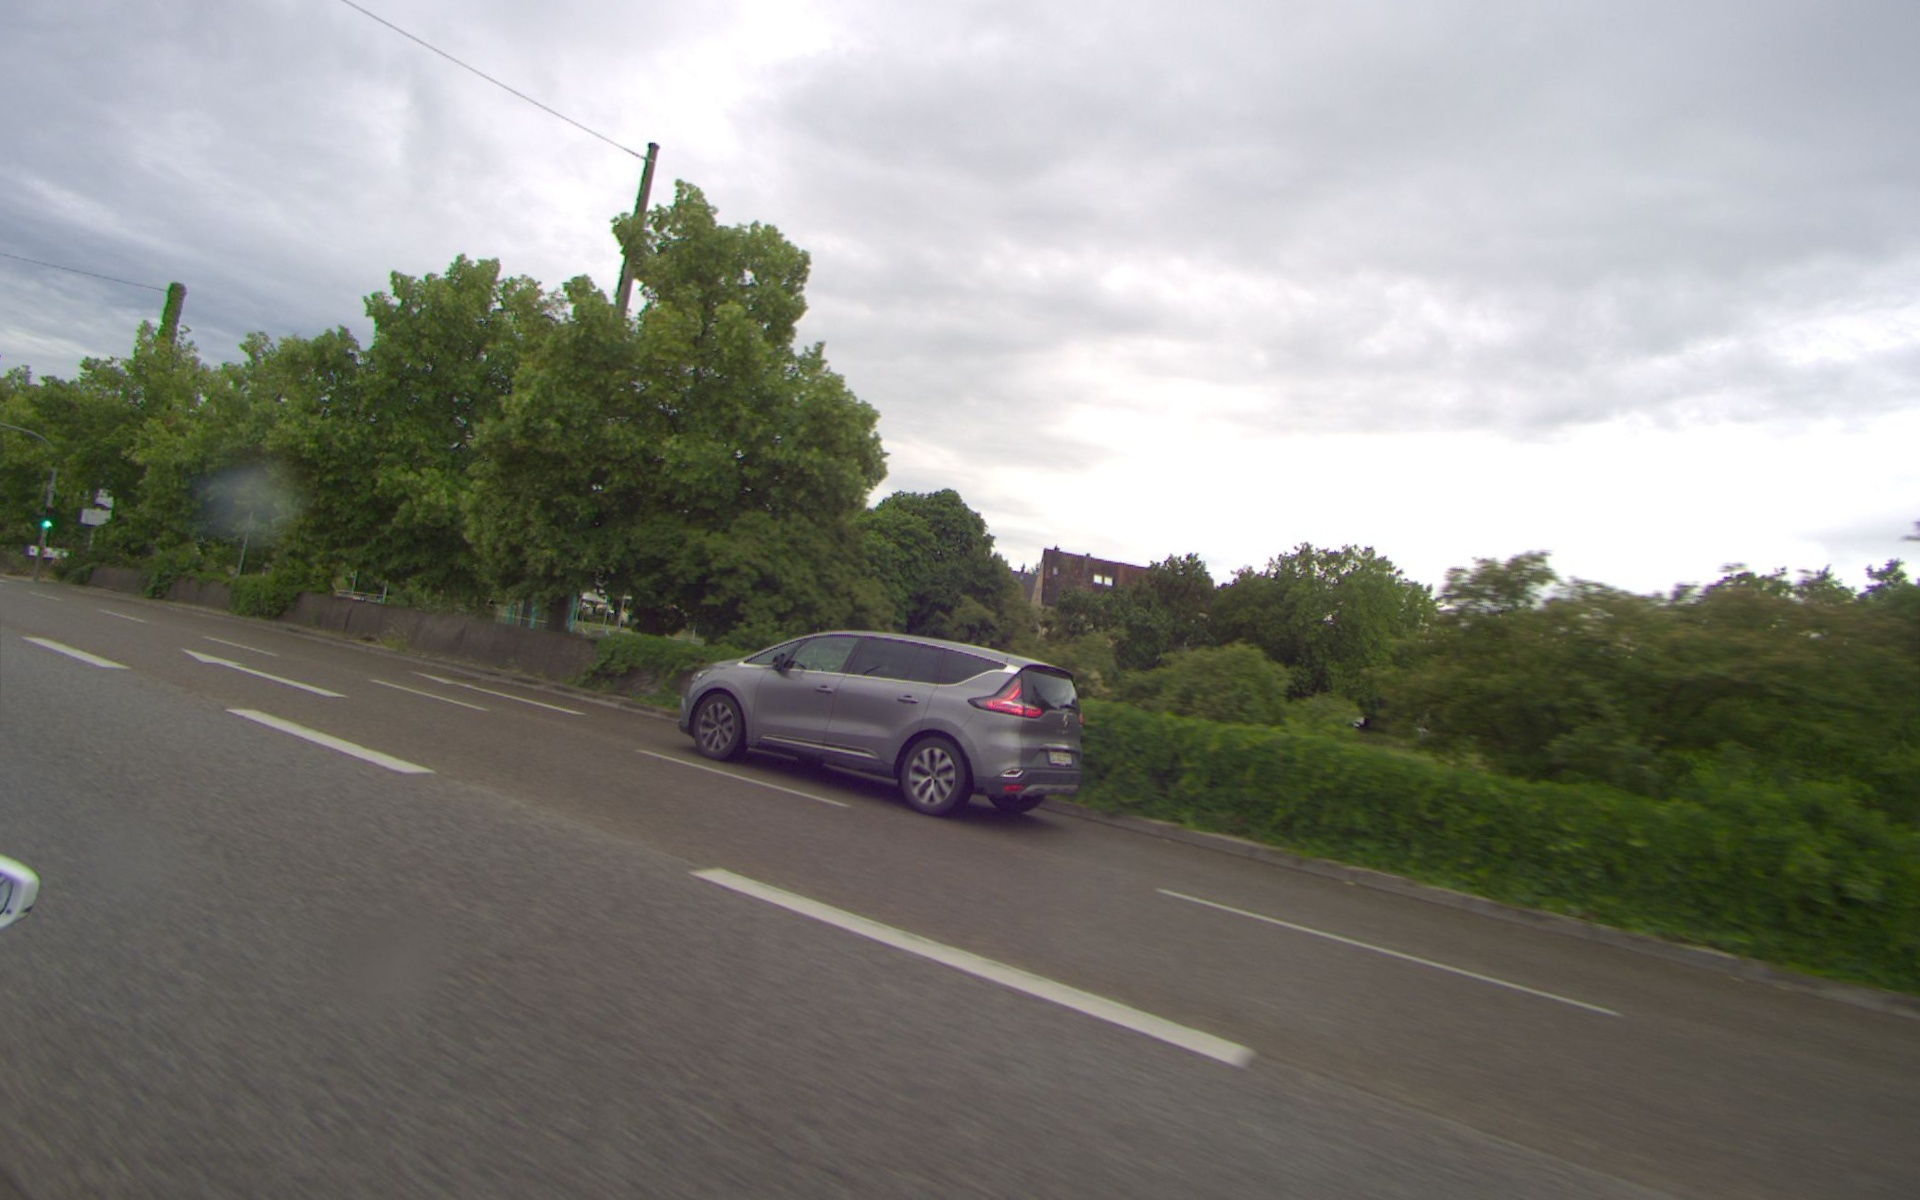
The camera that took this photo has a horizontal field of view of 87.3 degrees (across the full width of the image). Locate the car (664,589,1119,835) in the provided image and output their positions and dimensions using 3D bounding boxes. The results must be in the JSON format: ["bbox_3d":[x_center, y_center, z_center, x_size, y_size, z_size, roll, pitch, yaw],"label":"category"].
[{"bbox_3d":[-0.843,1.104,10.834,4.549,1.665,1.731,8,-4,33],"label":"car"}]
